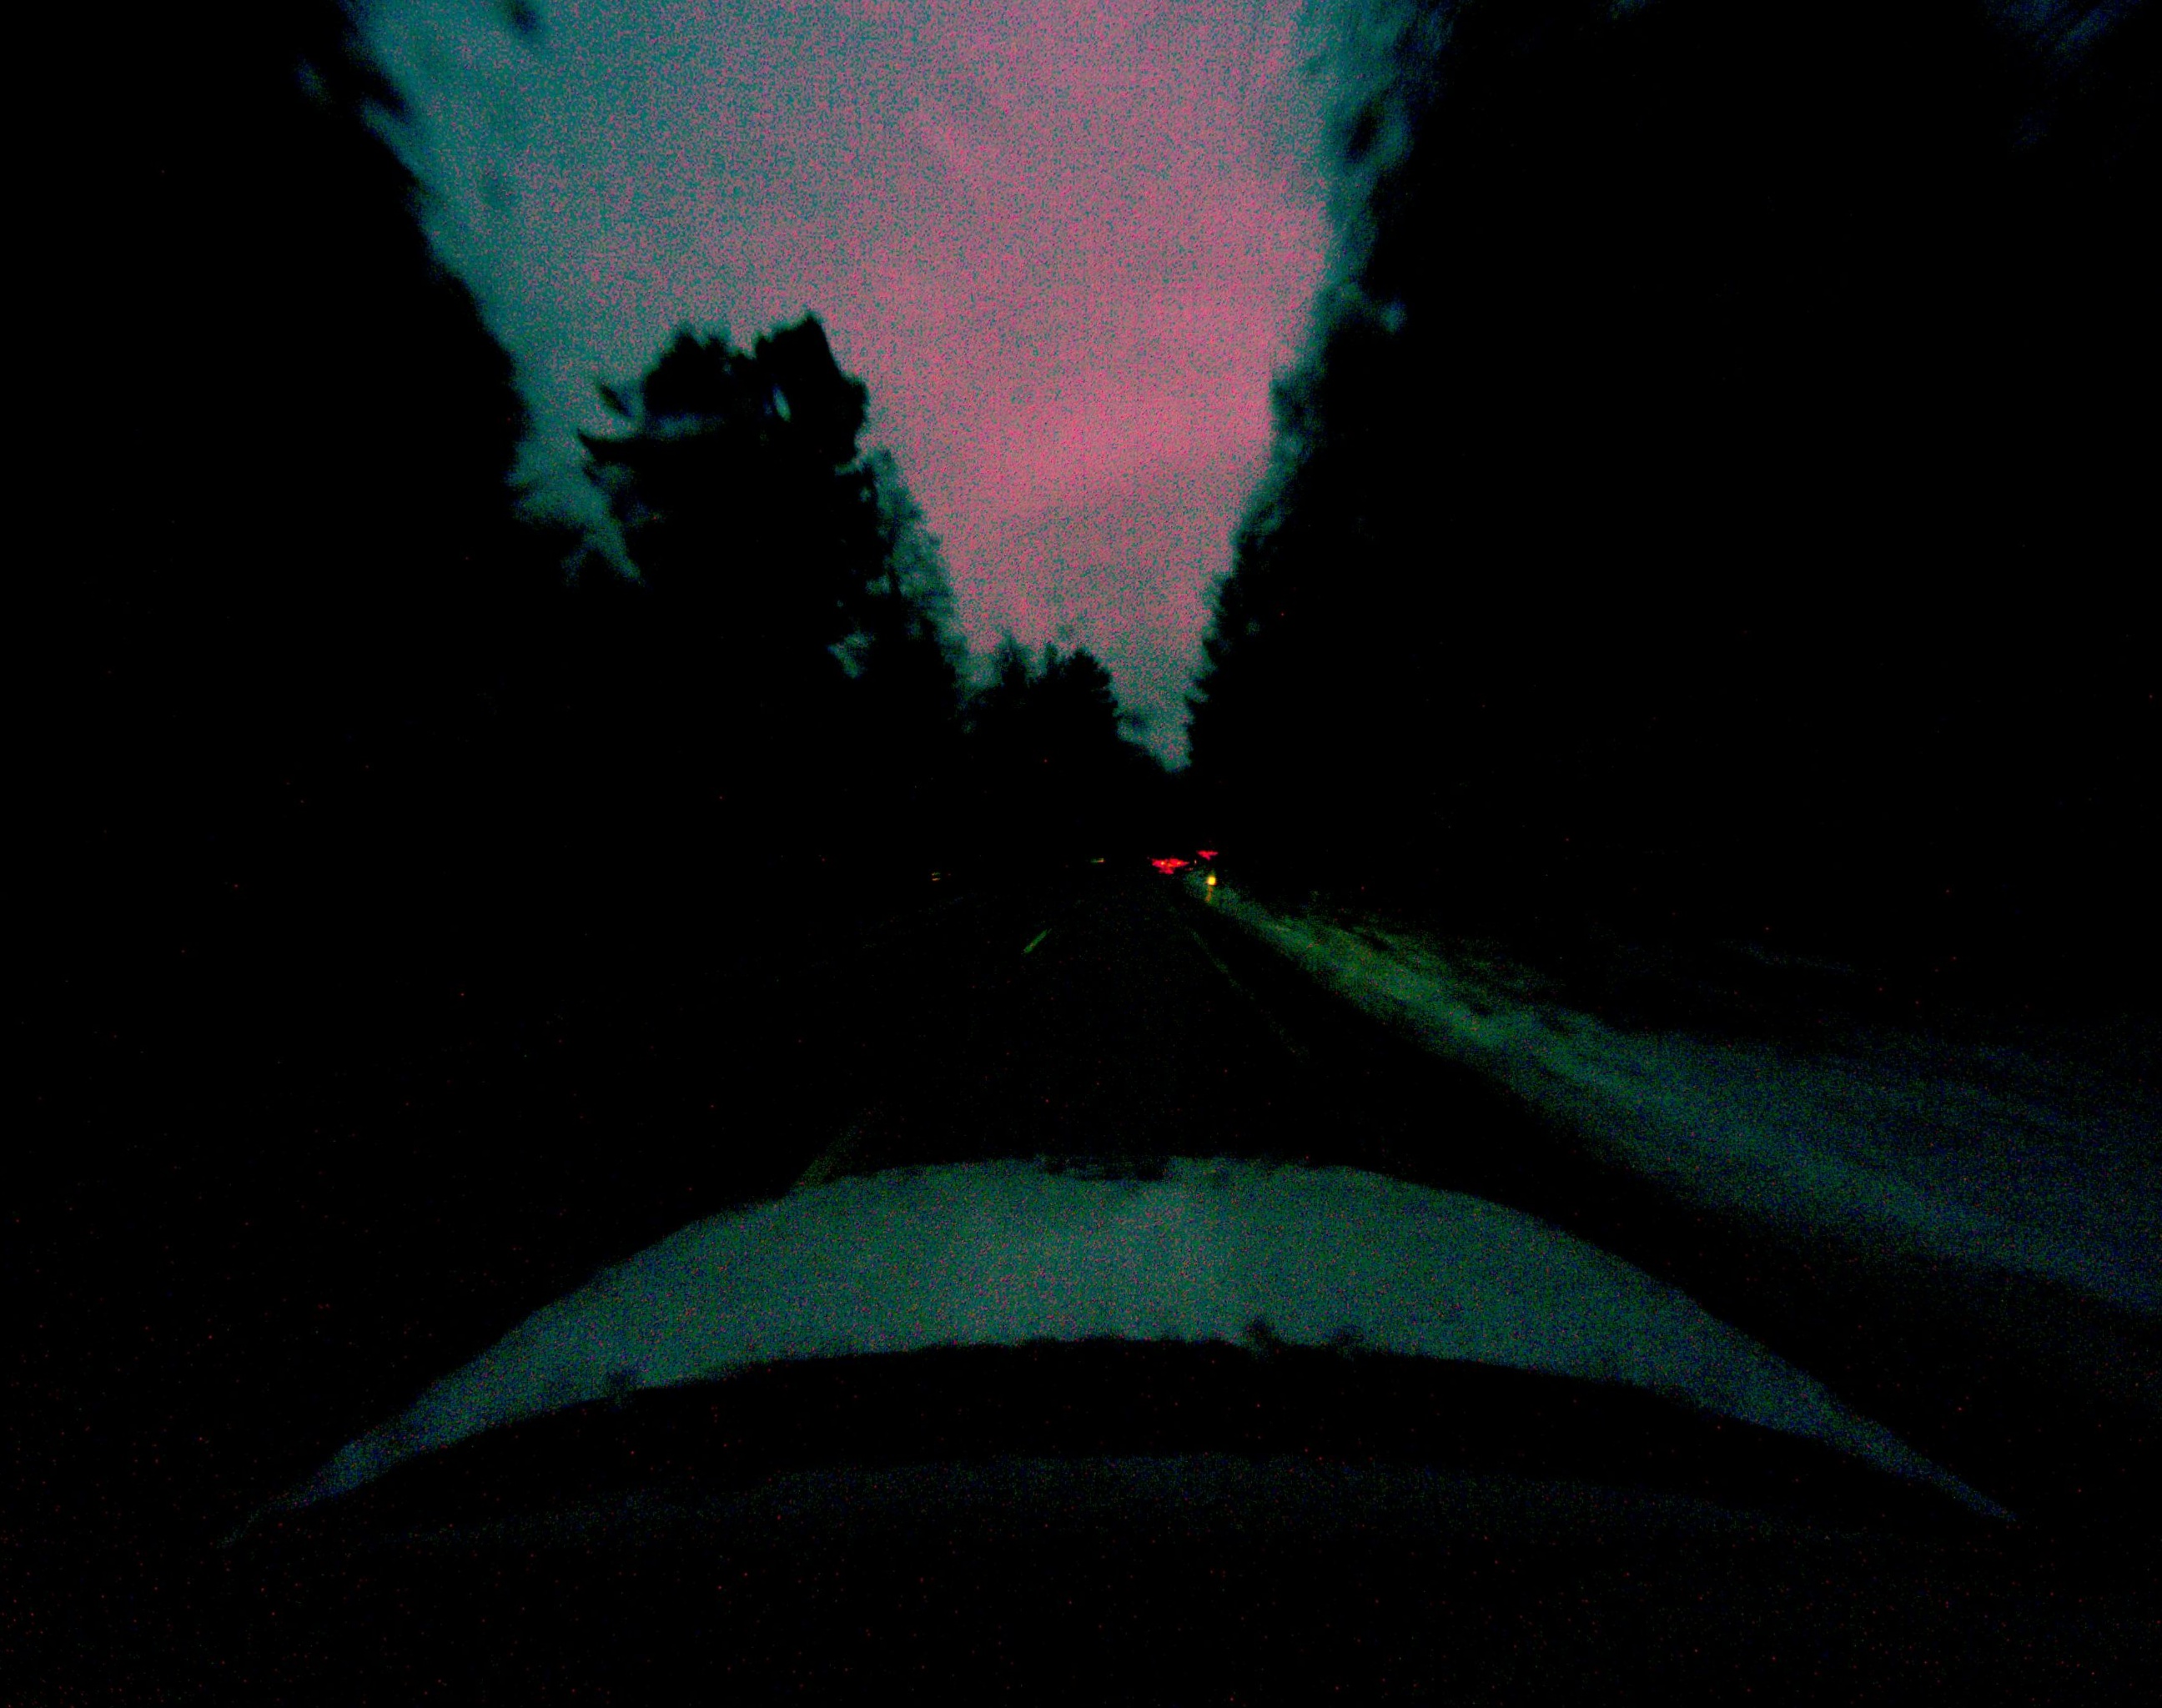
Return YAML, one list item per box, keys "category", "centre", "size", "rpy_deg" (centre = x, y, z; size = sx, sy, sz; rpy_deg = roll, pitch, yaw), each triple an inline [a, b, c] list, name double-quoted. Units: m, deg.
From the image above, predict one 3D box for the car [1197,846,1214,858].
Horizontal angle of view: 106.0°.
- category: "car"
  centre: [15.268, -0.298, 99.928]
  size: [1.982, 1.310, 4.010]
  rpy_deg: [-3, 0, 9]

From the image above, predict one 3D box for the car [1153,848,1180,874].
- category: "car"
  centre: [6.766, 0.527, 64.674]
  size: [1.984, 1.872, 4.006]
  rpy_deg: [-3, 0, 5]
